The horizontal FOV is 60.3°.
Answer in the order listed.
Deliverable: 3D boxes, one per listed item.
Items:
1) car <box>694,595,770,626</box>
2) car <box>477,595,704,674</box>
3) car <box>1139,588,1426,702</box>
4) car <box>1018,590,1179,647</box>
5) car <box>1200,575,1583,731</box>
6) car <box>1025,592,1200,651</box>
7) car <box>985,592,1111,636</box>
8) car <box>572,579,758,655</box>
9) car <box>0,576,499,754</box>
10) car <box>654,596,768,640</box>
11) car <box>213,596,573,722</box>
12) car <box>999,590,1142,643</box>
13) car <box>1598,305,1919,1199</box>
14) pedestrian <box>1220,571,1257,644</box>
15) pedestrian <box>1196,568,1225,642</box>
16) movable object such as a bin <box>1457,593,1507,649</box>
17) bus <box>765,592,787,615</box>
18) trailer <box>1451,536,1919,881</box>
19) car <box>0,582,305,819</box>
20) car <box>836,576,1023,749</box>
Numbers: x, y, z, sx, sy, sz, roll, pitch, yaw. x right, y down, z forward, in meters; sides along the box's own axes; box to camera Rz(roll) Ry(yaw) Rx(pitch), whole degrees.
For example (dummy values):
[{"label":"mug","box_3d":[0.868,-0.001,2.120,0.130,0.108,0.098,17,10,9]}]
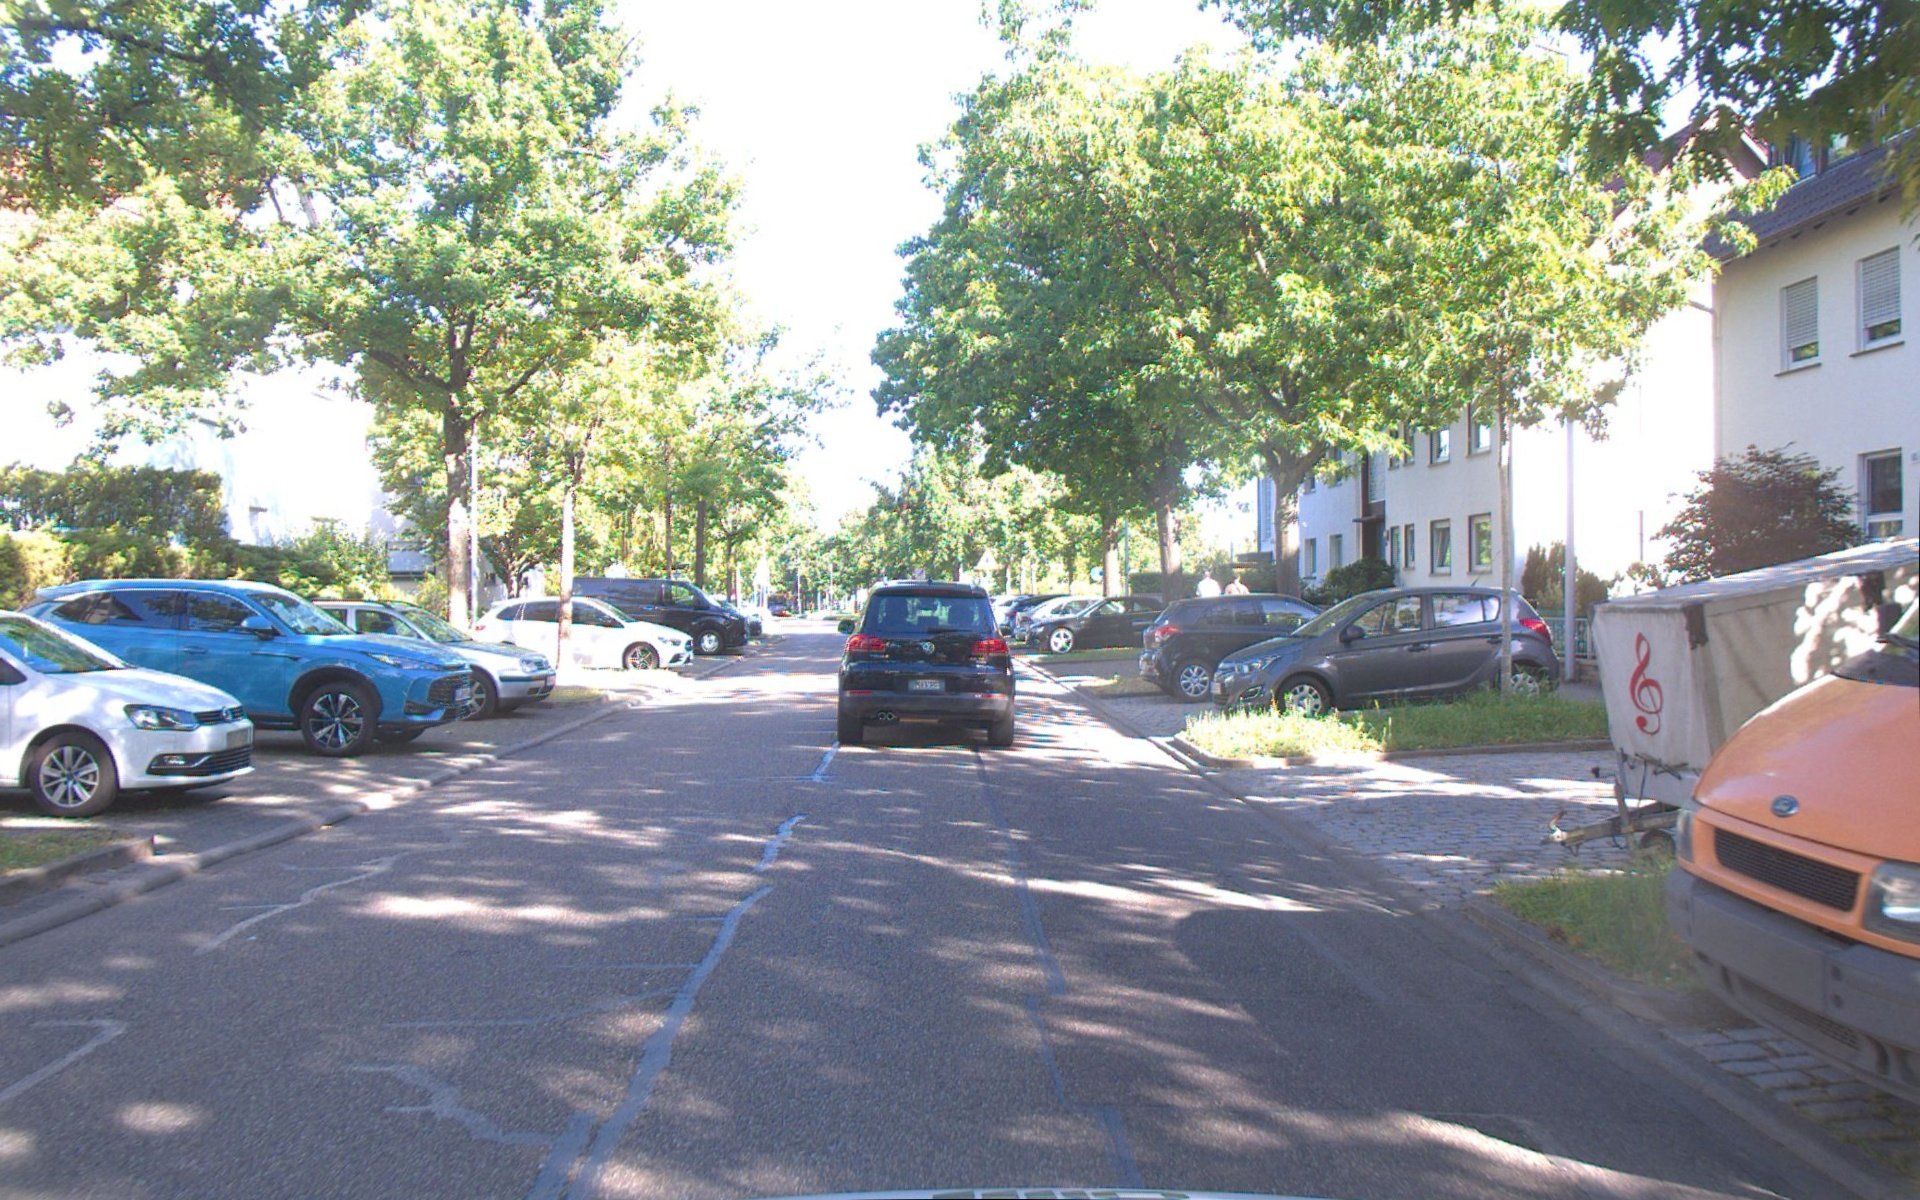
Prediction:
[{"label":"car","box_3d":[-12.728,0.576,92.496,4.161,1.651,1.894,-1,-1,-7]},{"label":"car","box_3d":[-7.429,0.677,33.535,4.189,1.504,1.768,-1,0,-2]},{"label":"car","box_3d":[4.591,0.640,23.932,3.803,1.542,1.660,-1,-1,-1]},{"label":"car","box_3d":[3.757,0.491,45.307,4.190,1.439,1.796,-1,0,-2]},{"label":"car","box_3d":[4.880,0.590,19.051,3.908,1.652,1.756,-1,-1,-4]},{"label":"car","box_3d":[3.872,0.549,42.524,4.259,1.387,1.872,-1,-1,-2]},{"label":"car","box_3d":[3.096,0.481,58.993,4.339,1.517,1.796,-1,0,-2]},{"label":"car","box_3d":[-7.888,0.443,44.594,4.684,1.950,2.017,-1,0,-4]},{"label":"car","box_3d":[-7.188,0.618,16.846,4.432,1.659,1.937,-1,0,-1]},{"label":"car","box_3d":[-8.832,0.631,58.890,3.779,1.484,1.713,-1,0,-2]},{"label":"car","box_3d":[-7.291,0.745,21.546,4.097,1.518,1.646,-1,-1,-1]},{"label":"car","box_3d":[3.325,0.498,50.257,4.190,1.529,1.796,-1,0,-2]},{"label":"car","box_3d":[4.569,0.349,4.677,4.720,2.120,2.086,-1,0,-1]},{"label":"pedestrian","box_3d":[7.260,0.196,43.181,0.818,1.860,0.710,-1,-1,0]},{"label":"pedestrian","box_3d":[6.525,0.142,43.168,0.595,1.906,0.923,-1,-1,0]},{"label":"movable object such as a bin","box_3d":[10.644,0.429,33.749,0.689,1.118,0.905,-1,-1,-3]},{"label":"bus","box_3d":[-24.603,0.507,221.626,2.872,3.056,5.729,-1,-1,-6]},{"label":"trailer","box_3d":[4.560,0.540,9.490,2.890,1.693,1.612,-3,-1,-7]},{"label":"car","box_3d":[-7.228,0.723,12.369,3.906,1.623,1.857,-1,-1,-1]},{"label":"car","box_3d":[-0.262,0.604,17.989,1.800,1.665,3.958,0,0,1]}]
